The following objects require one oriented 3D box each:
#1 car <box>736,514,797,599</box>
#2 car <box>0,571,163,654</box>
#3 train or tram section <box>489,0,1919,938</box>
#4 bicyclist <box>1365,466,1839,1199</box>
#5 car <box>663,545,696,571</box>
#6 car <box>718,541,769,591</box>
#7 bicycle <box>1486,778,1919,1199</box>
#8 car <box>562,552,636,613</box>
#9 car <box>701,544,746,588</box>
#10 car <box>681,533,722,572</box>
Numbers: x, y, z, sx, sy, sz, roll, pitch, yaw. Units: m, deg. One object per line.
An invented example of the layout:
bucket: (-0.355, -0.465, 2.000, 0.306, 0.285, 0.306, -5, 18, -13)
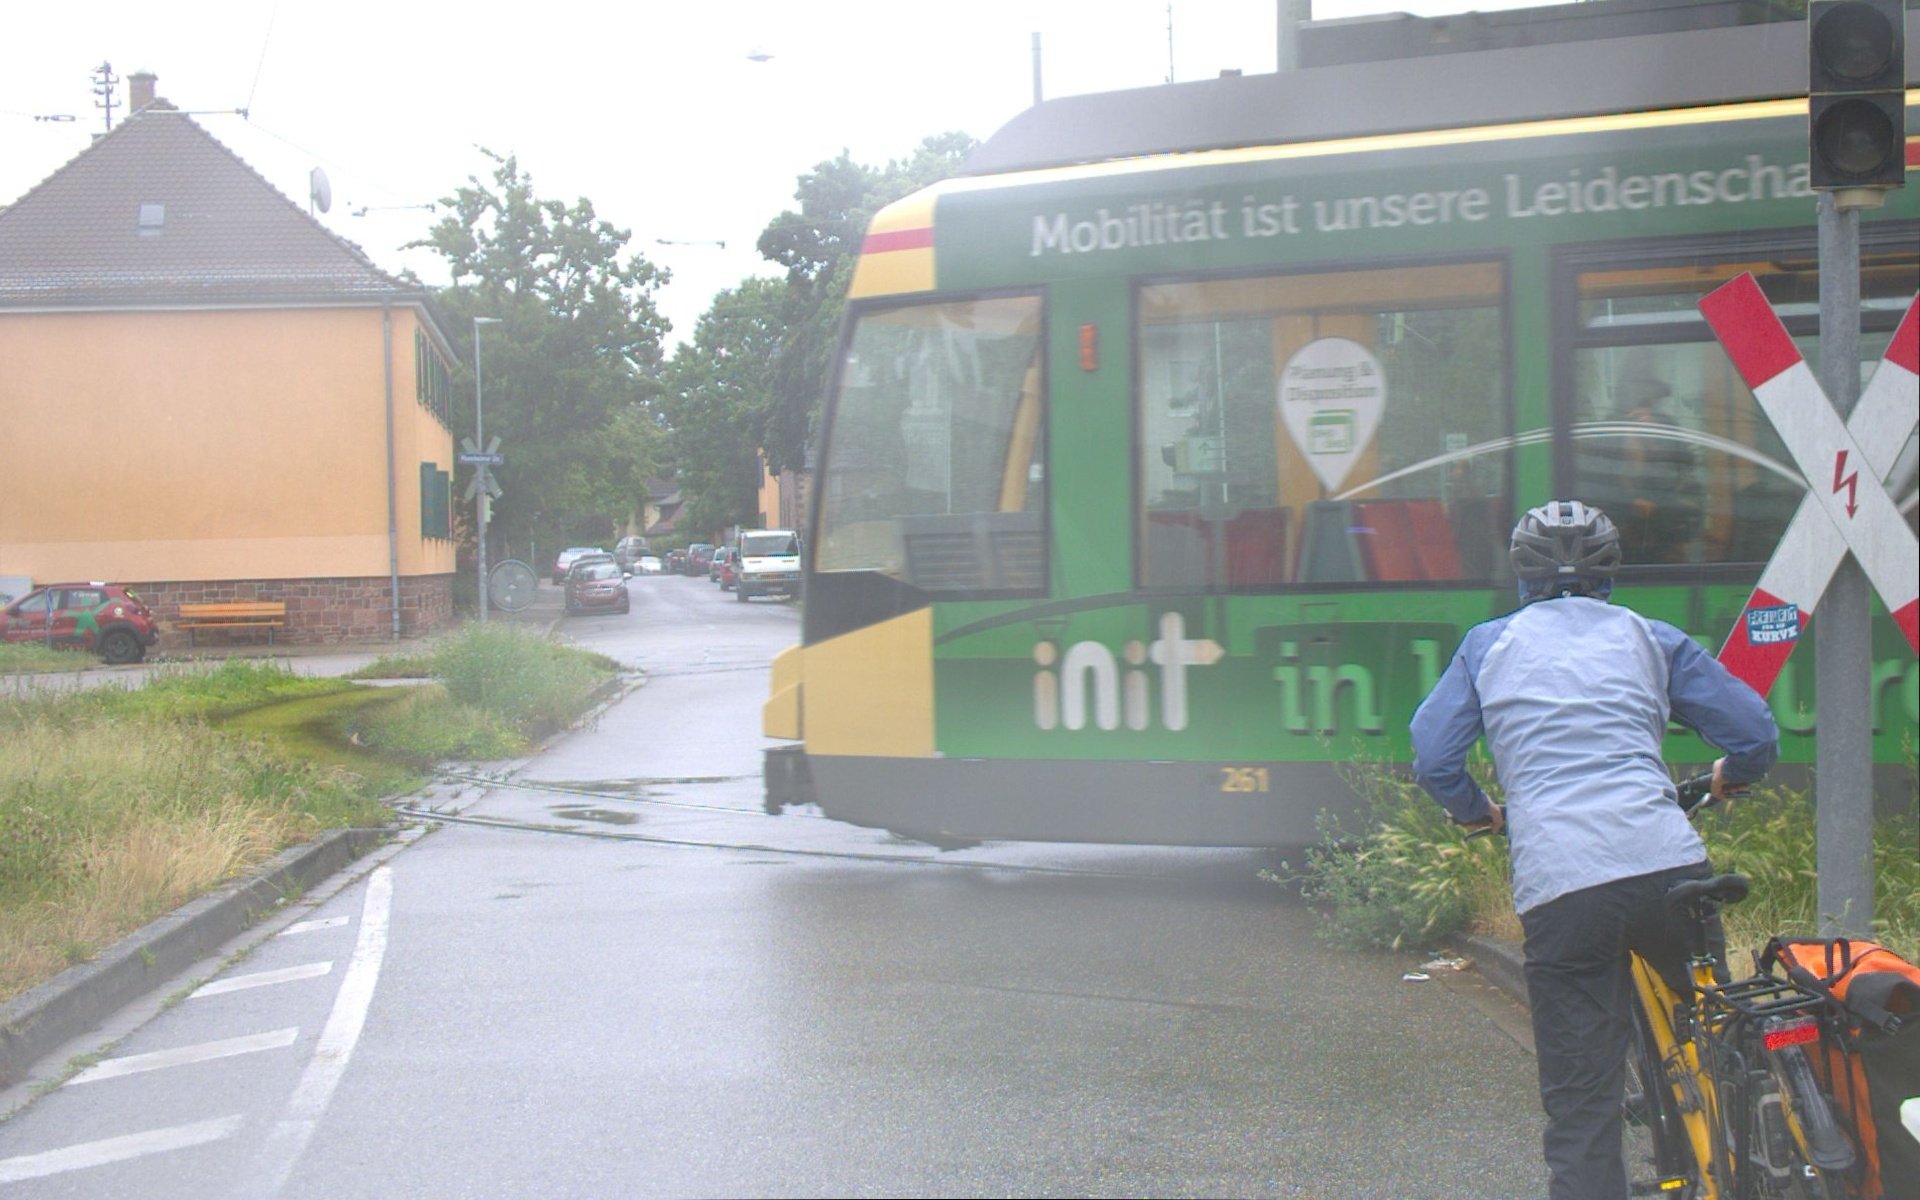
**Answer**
car: (-6.065, -1.356, 108.055, 1.804, 2.618, 4.000, 1, 0, -3)
car: (-16.665, 0.214, 62.602, 3.986, 1.451, 1.834, 1, 0, -6)
train or tram section: (4.376, -0.636, 12.892, 13.110, 3.541, 2.765, -1, 1, 30)
bicyclist: (1.144, 0.583, 6.293, 0.667, 1.620, 0.853, 1, 0, -2)
car: (-17.223, -2.584, 211.258, 1.804, 1.558, 4.000, 1, 0, -3)
car: (-8.051, -1.270, 127.932, 1.804, 1.805, 4.000, 1, 0, -3)
bicycle: (1.344, 0.894, 6.273, 0.446, 1.001, 1.728, -1, 1, -2)
car: (-10.029, -0.494, 95.714, 1.804, 1.645, 4.000, 1, 0, -3)
car: (-10.139, -1.461, 147.417, 1.804, 1.805, 4.000, 1, 0, -3)
car: (-12.371, -2.253, 164.644, 1.804, 1.805, 4.000, 1, 0, -3)
